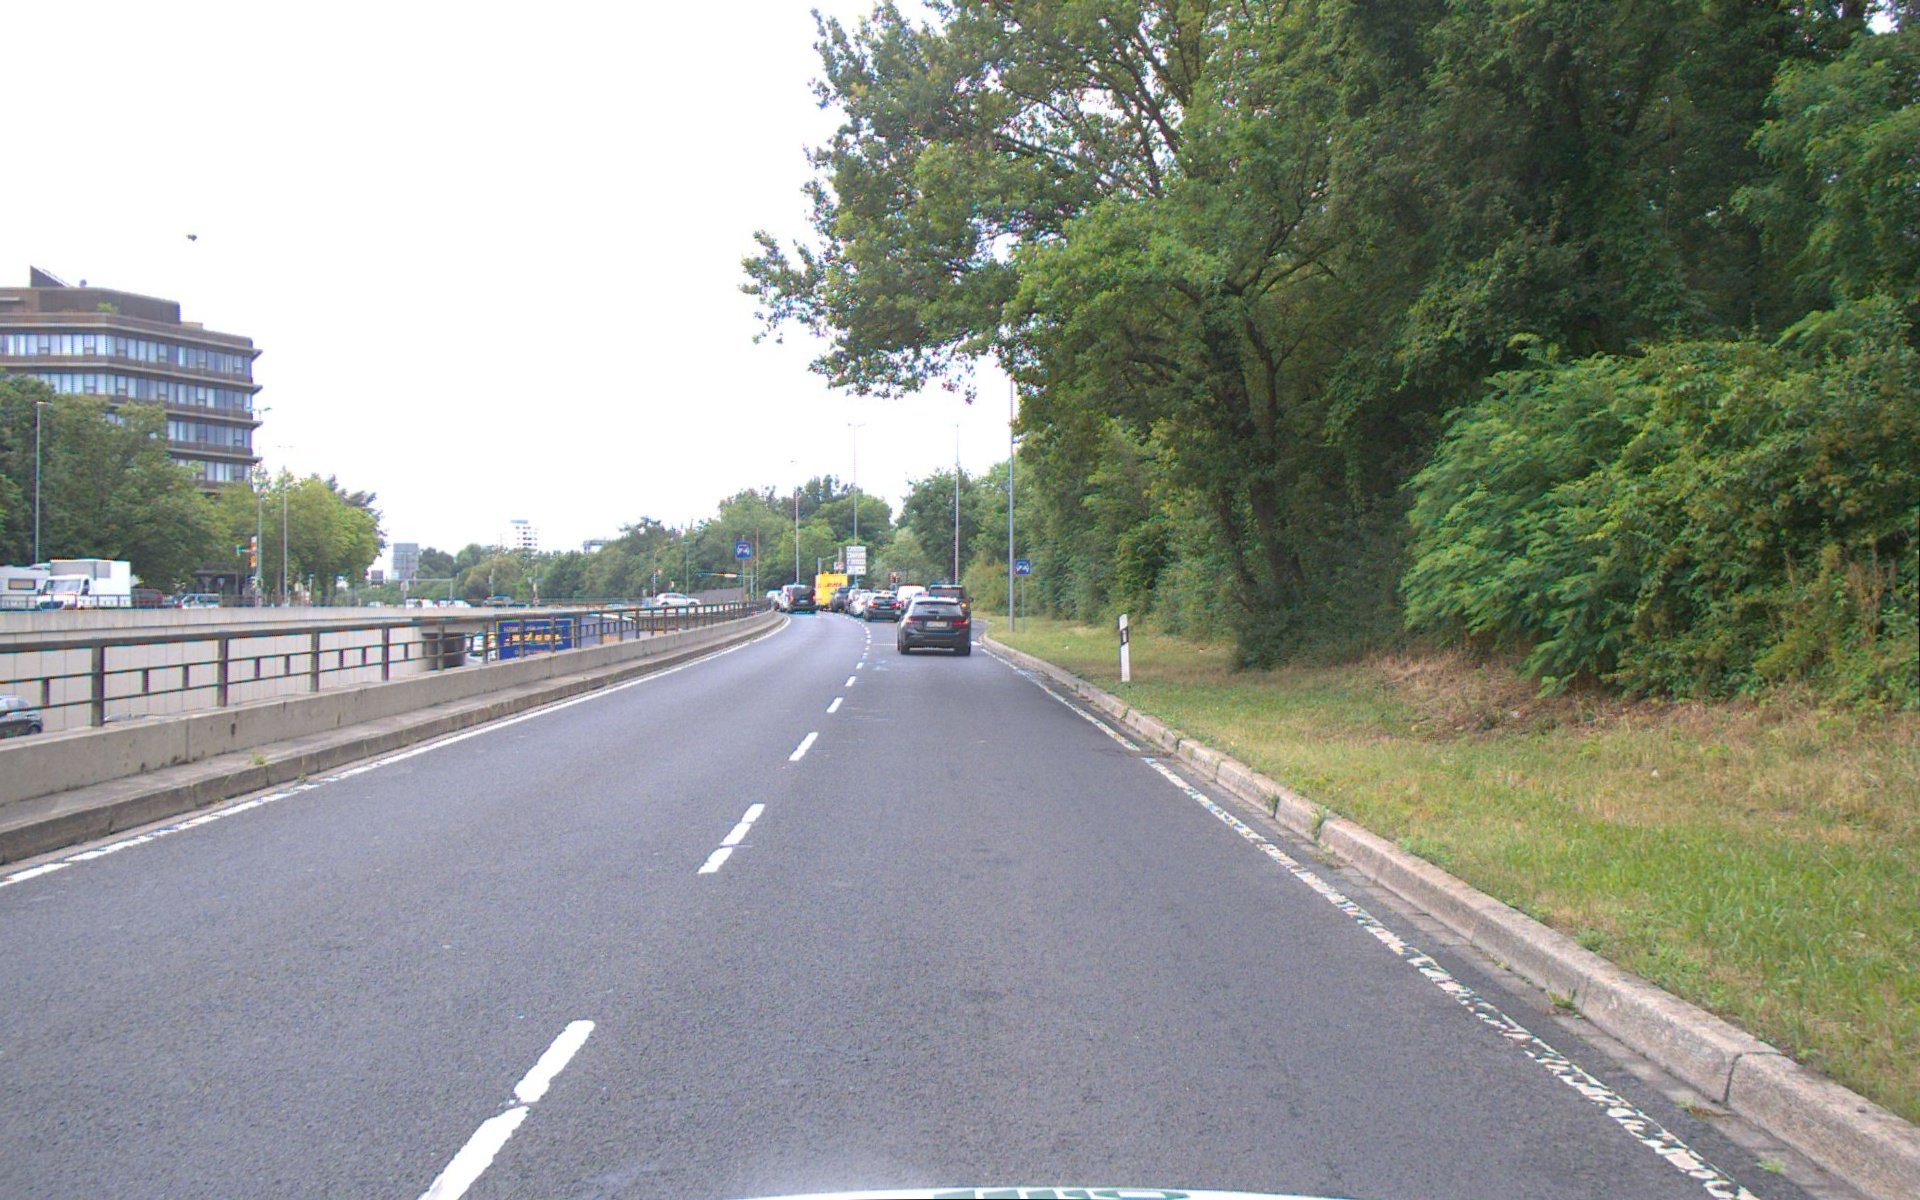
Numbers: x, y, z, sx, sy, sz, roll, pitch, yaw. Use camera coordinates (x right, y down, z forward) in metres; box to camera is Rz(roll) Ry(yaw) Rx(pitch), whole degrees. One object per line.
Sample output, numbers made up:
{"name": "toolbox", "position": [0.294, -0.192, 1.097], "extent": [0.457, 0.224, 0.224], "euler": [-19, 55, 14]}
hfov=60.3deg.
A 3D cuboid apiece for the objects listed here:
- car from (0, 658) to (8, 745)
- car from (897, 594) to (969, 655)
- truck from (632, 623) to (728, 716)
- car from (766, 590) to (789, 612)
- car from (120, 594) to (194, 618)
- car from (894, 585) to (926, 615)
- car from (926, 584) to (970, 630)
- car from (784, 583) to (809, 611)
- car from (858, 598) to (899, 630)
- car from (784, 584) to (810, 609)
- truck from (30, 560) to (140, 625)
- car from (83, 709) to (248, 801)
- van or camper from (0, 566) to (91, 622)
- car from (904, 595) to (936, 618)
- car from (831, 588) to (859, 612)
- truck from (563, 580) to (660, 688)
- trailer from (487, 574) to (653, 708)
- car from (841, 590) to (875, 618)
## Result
{"name": "car", "position": [-23.747, 2.451, 36.170], "extent": [2.164, 2.034, 6.652], "euler": [-2, 0, -2]}
{"name": "car", "position": [-0.747, 0.590, 43.087], "extent": [1.713, 1.451, 4.459], "euler": [0, 1, -3]}
{"name": "truck", "position": [-13.840, 3.256, 83.151], "extent": [2.794, 4.107, 15.569], "euler": [-1, 0, -3]}
{"name": "car", "position": [-14.750, 0.062, 133.566], "extent": [1.593, 1.731, 4.288], "euler": [1, 0, -8]}
{"name": "car", "position": [-51.494, 0.402, 106.168], "extent": [1.597, 1.466, 3.982], "euler": [1, -1, 37]}
{"name": "car", "position": [-3.444, 0.010, 113.153], "extent": [1.849, 1.912, 4.423], "euler": [1, 0, -7]}
{"name": "car", "position": [-0.535, 0.324, 72.970], "extent": [1.860, 1.917, 4.414], "euler": [1, 0, -1]}
{"name": "car", "position": [-12.500, -0.208, 126.328], "extent": [1.849, 2.022, 4.423], "euler": [1, 0, -7]}
{"name": "car", "position": [-4.319, 0.745, 87.174], "extent": [1.849, 1.620, 4.423], "euler": [1, 0, -7]}
{"name": "car", "position": [-11.676, -0.267, 118.216], "extent": [1.593, 1.731, 4.288], "euler": [1, 0, -8]}
{"name": "truck", "position": [-43.414, -0.329, 82.269], "extent": [1.976, 3.039, 7.093], "euler": [1, 0, -3]}
{"name": "car", "position": [-16.546, 3.191, 34.659], "extent": [1.590, 1.555, 3.896], "euler": [1, 0, -1]}
{"name": "van or camper", "position": [-49.669, -0.311, 87.842], "extent": [2.109, 2.859, 5.885], "euler": [0, -1, 43]}
{"name": "car", "position": [-2.532, 0.427, 104.620], "extent": [1.847, 1.379, 3.997], "euler": [1, 0, -4]}
{"name": "car", "position": [-8.617, -0.008, 123.419], "extent": [1.849, 1.730, 4.423], "euler": [1, 0, -7]}
{"name": "truck", "position": [-13.895, 1.322, 66.425], "extent": [2.794, 4.107, 6.093], "euler": [-1, -1, -3]}
{"name": "trailer", "position": [-13.514, 1.329, 59.032], "extent": [2.794, 4.107, 15.996], "euler": [-1, 0, -3]}
{"name": "car", "position": [-6.260, 0.243, 101.282], "extent": [1.849, 1.620, 4.423], "euler": [1, 0, -7]}
